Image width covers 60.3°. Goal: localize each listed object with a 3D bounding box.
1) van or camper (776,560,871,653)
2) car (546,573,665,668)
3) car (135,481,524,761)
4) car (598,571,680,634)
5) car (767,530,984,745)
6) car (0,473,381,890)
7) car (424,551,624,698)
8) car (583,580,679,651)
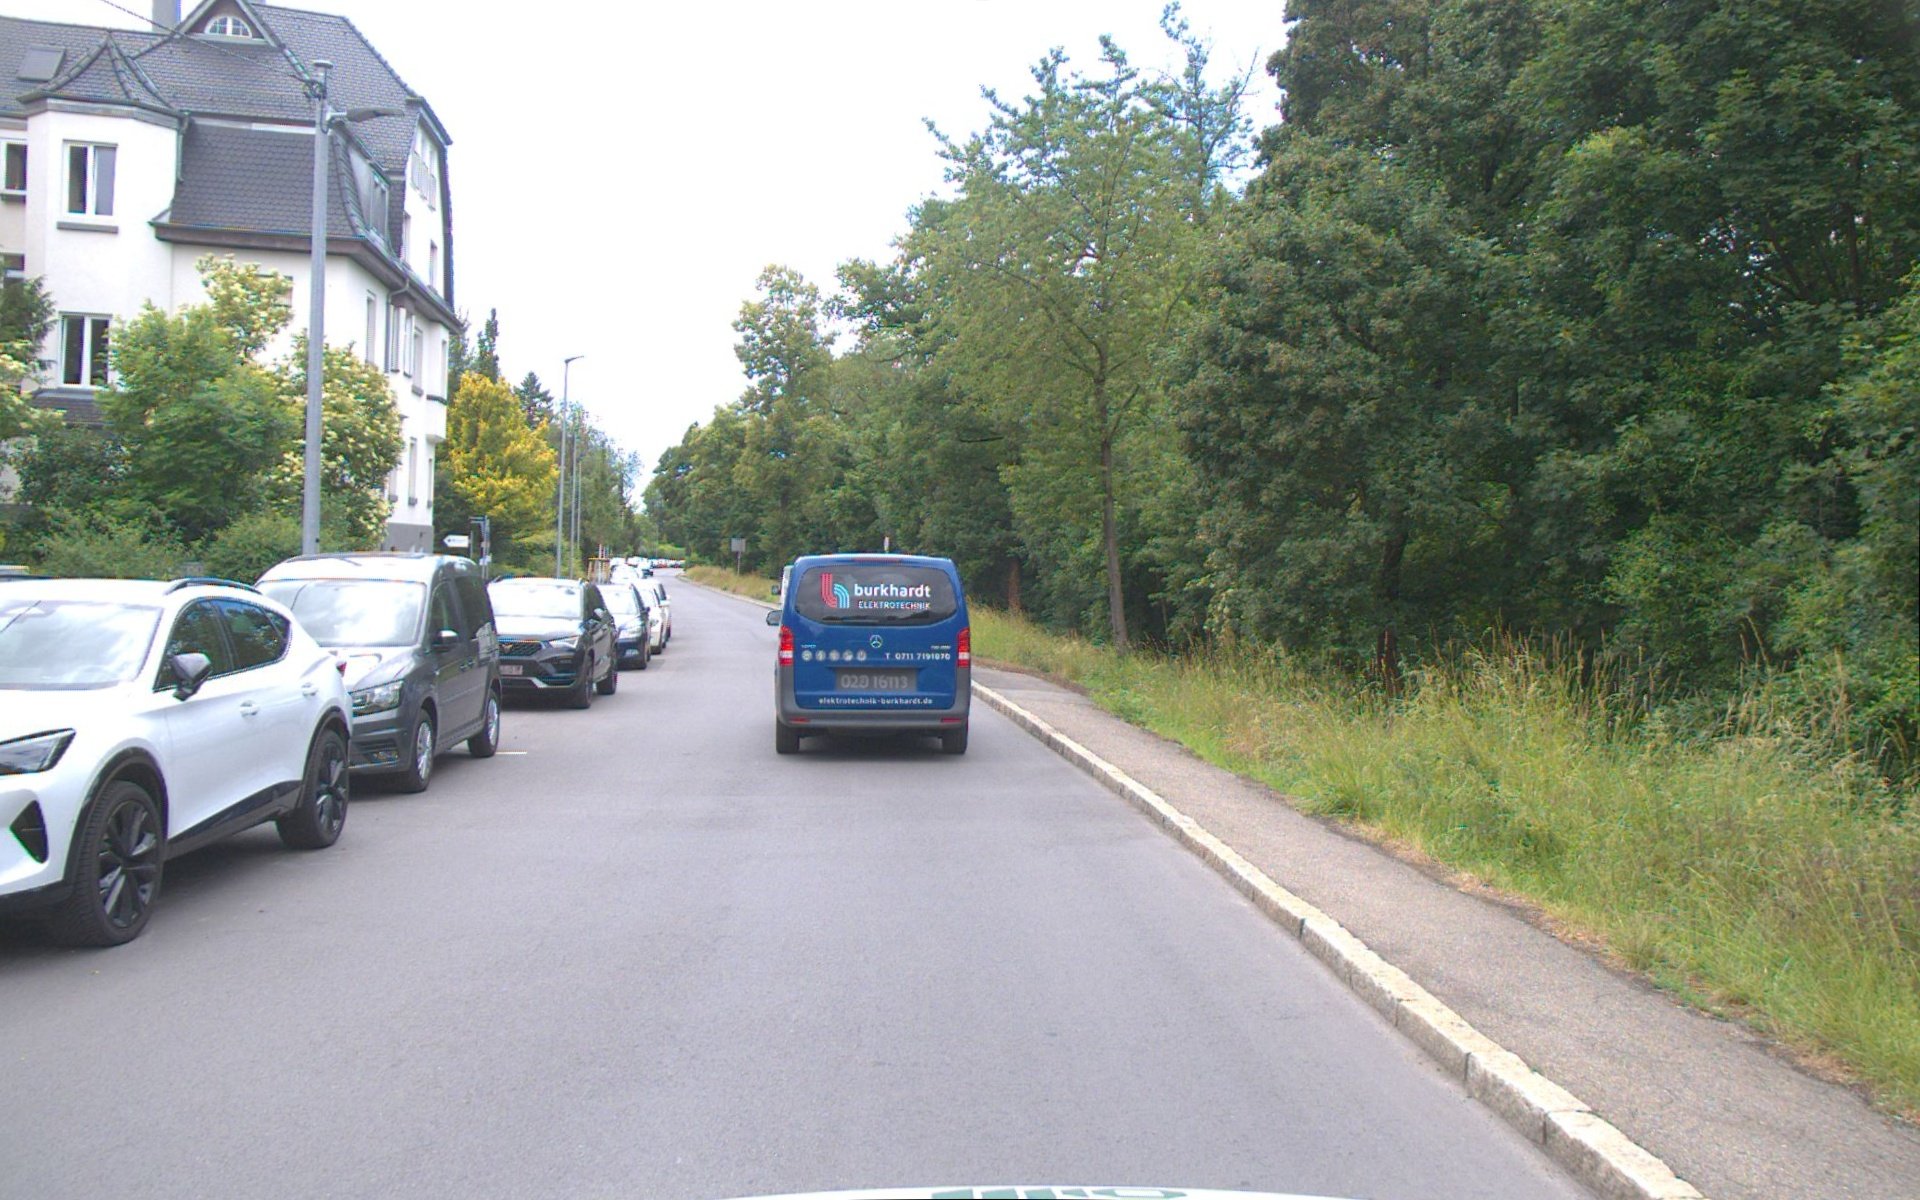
[{"bbox_3d":[-3.364,0.094,39.954,1.981,1.990,4.889,4,1,-7],"label":"van or camper"},{"bbox_3d":[-6.457,0.332,30.456,1.576,1.539,3.852,4,0,-5],"label":"car"},{"bbox_3d":[-4.911,0.167,13.598,1.710,1.794,4.408,5,-1,-5],"label":"car"},{"bbox_3d":[-8.142,0.056,42.178,1.576,1.432,3.852,4,0,-5],"label":"car"},{"bbox_3d":[-0.936,0.305,16.962,1.876,1.869,4.290,2,1,-5],"label":"car"},{"bbox_3d":[-4.399,0.284,8.179,1.690,1.518,4.410,2,-1,-3],"label":"car"},{"bbox_3d":[-5.644,0.303,21.922,1.780,1.644,4.219,4,-1,-5],"label":"car"},{"bbox_3d":[-7.122,0.297,36.068,1.576,1.366,3.851,4,0,-5],"label":"car"}]
